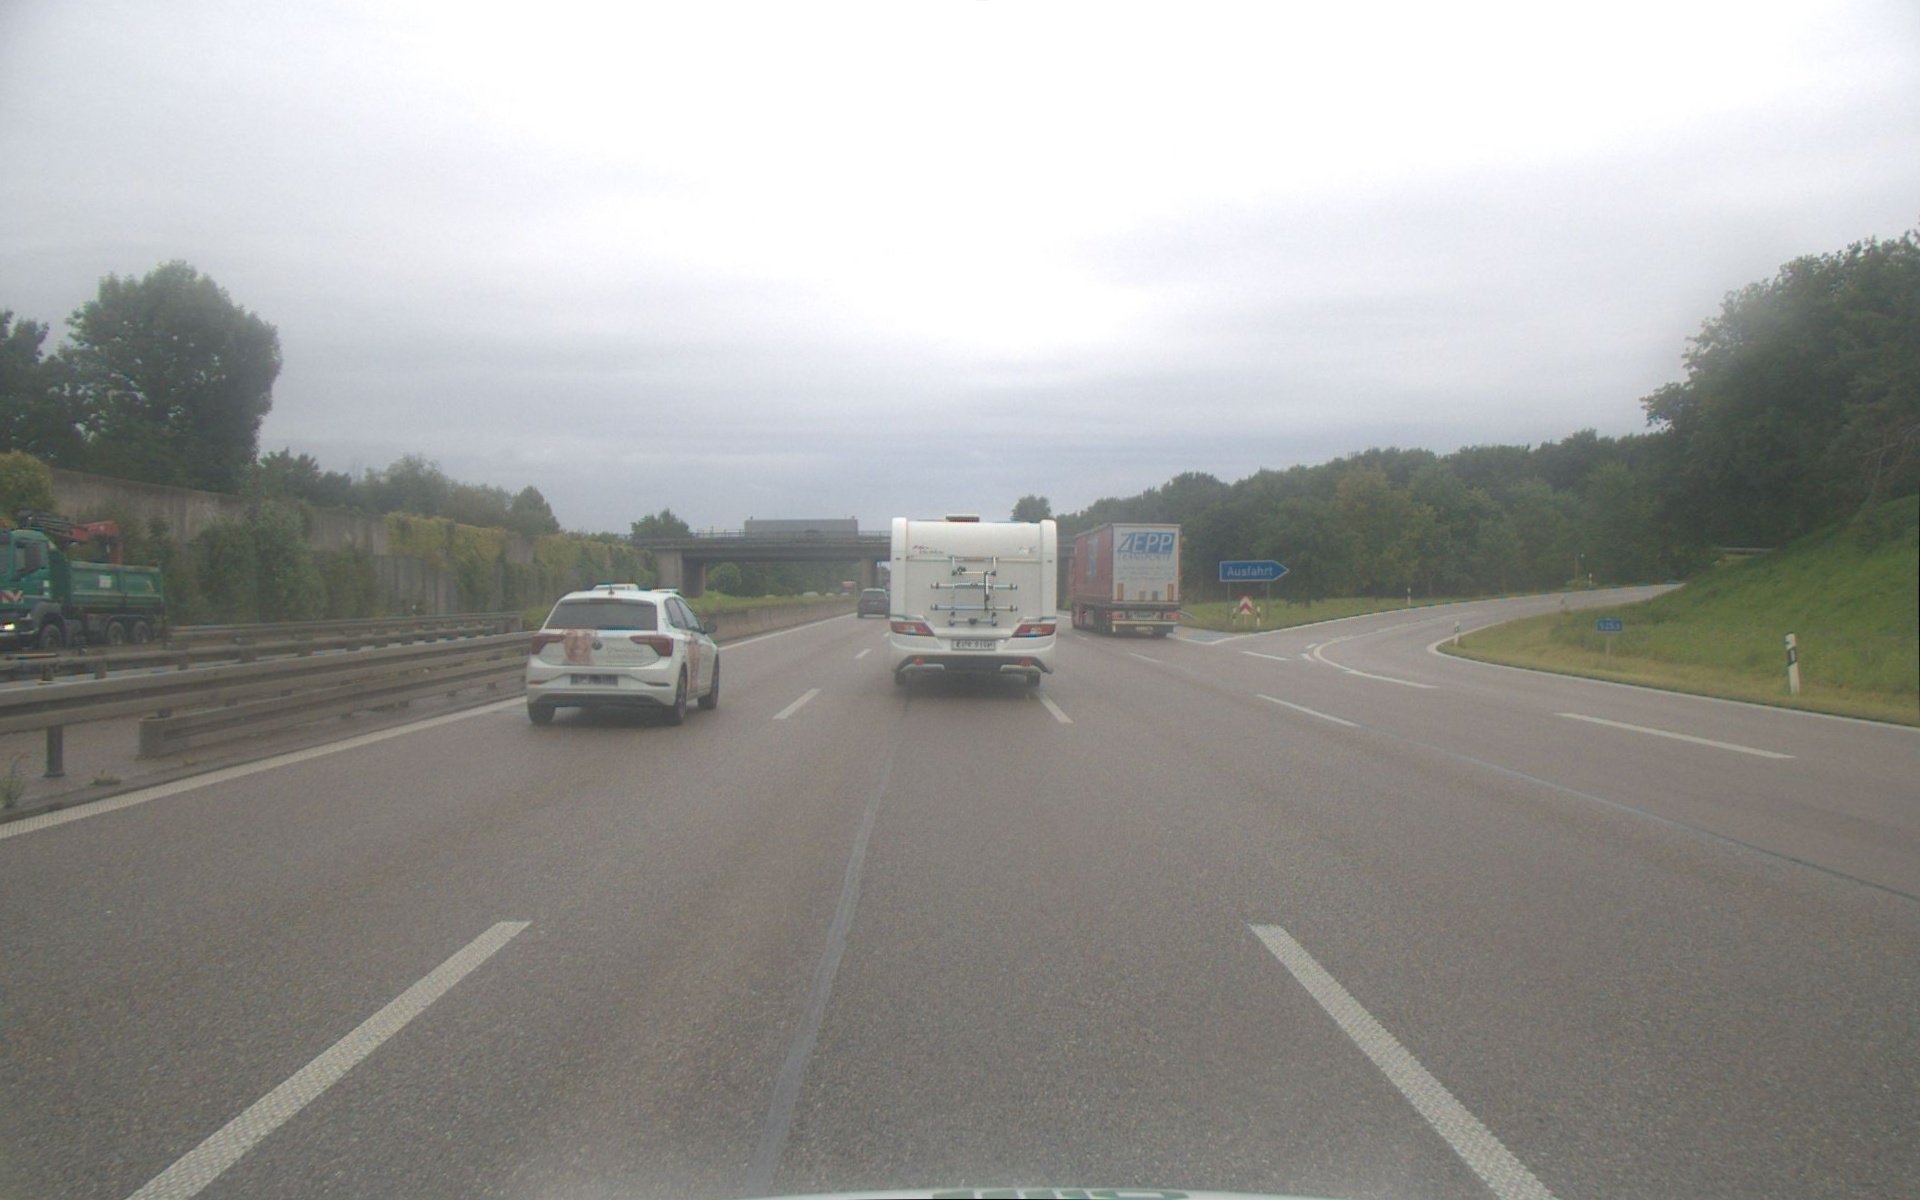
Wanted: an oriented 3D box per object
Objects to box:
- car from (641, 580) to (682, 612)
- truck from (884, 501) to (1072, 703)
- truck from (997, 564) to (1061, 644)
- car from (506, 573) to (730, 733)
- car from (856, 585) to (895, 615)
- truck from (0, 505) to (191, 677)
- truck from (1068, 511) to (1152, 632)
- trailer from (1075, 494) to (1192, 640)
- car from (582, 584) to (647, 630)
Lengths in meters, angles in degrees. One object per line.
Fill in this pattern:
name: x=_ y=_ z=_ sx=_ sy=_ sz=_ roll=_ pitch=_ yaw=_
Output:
car: x=-20.246 y=-0.246 z=112.284 sx=1.953 sy=2.049 sz=5.225 roll=1 pitch=0 yaw=-2
truck: x=0.211 y=0.032 z=25.851 sx=2.607 sy=2.790 sz=5.076 roll=1 pitch=0 yaw=-1
truck: x=2.531 y=0.133 z=61.731 sx=2.011 sy=2.818 sz=5.547 roll=1 pitch=0 yaw=-1
car: x=-3.855 y=0.541 z=19.426 sx=1.717 sy=1.646 sz=4.663 roll=0 pitch=0 yaw=-1
car: x=-4.789 y=-0.012 z=94.387 sx=1.953 sy=1.628 sz=5.123 roll=1 pitch=0 yaw=0
truck: x=-22.329 y=-0.219 z=41.118 sx=2.637 sy=3.843 sz=8.334 roll=1 pitch=0 yaw=-2
truck: x=6.390 y=-1.174 z=71.285 sx=2.986 sy=4.924 sz=5.849 roll=1 pitch=0 yaw=-1
trailer: x=6.478 y=-1.137 z=63.595 sx=3.037 sy=5.008 sz=11.788 roll=1 pitch=0 yaw=-1
car: x=-16.104 y=0.305 z=77.307 sx=2.038 sy=2.049 sz=5.193 roll=0 pitch=0 yaw=-2
